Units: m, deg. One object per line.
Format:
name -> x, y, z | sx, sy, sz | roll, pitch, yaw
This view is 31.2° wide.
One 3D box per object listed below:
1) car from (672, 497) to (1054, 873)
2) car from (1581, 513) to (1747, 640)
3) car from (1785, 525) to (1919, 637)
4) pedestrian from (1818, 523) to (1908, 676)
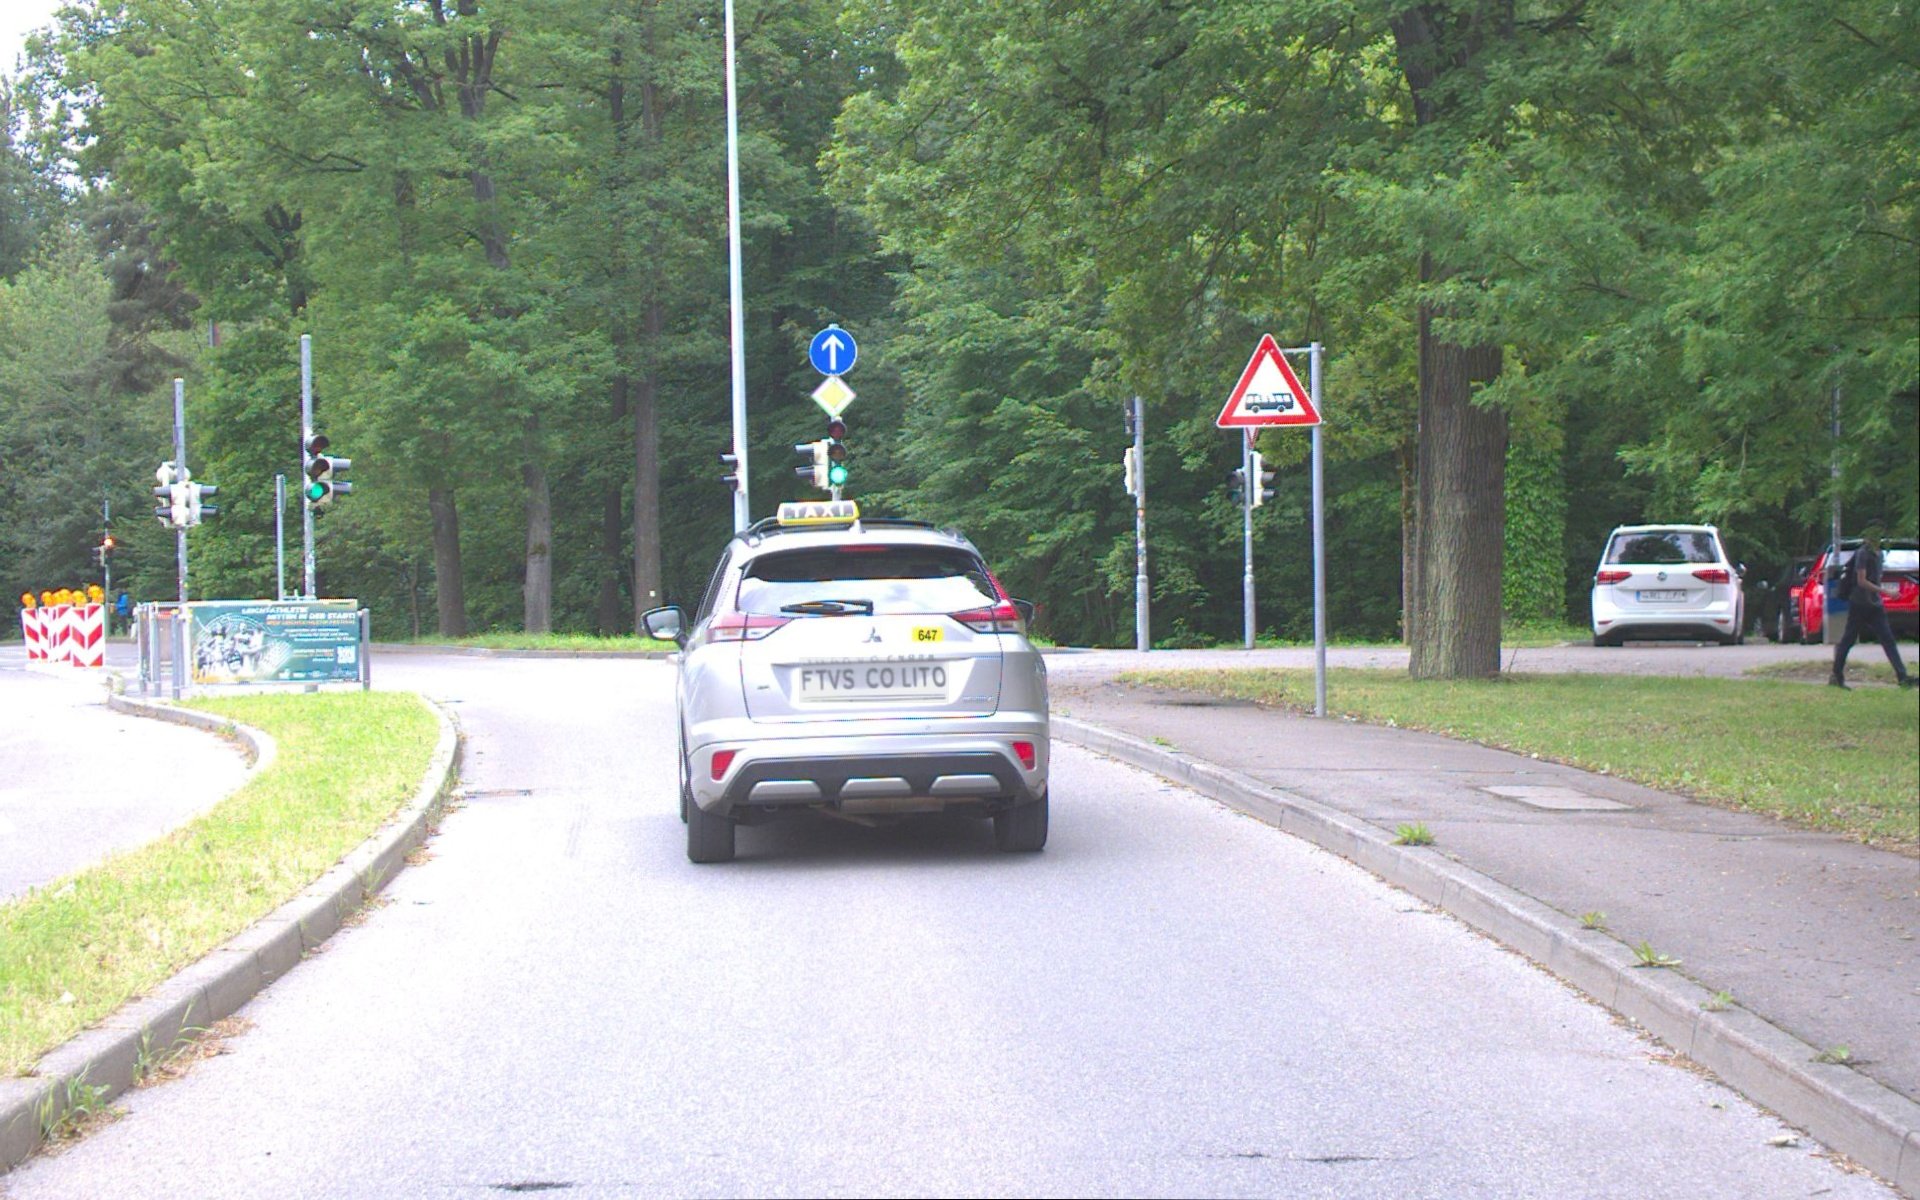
car -> -0.601, 0.397, 17.938 | 1.773, 1.742, 3.781 | 0, 0, -5
car -> 9.042, -0.333, 43.954 | 1.835, 1.531, 3.998 | -1, 1, 15
car -> 11.464, -0.275, 43.616 | 1.835, 1.321, 3.998 | -1, 1, 15
pedestrian -> 9.009, -0.014, 34.327 | 0.841, 1.501, 0.790 | -1, 1, 14
